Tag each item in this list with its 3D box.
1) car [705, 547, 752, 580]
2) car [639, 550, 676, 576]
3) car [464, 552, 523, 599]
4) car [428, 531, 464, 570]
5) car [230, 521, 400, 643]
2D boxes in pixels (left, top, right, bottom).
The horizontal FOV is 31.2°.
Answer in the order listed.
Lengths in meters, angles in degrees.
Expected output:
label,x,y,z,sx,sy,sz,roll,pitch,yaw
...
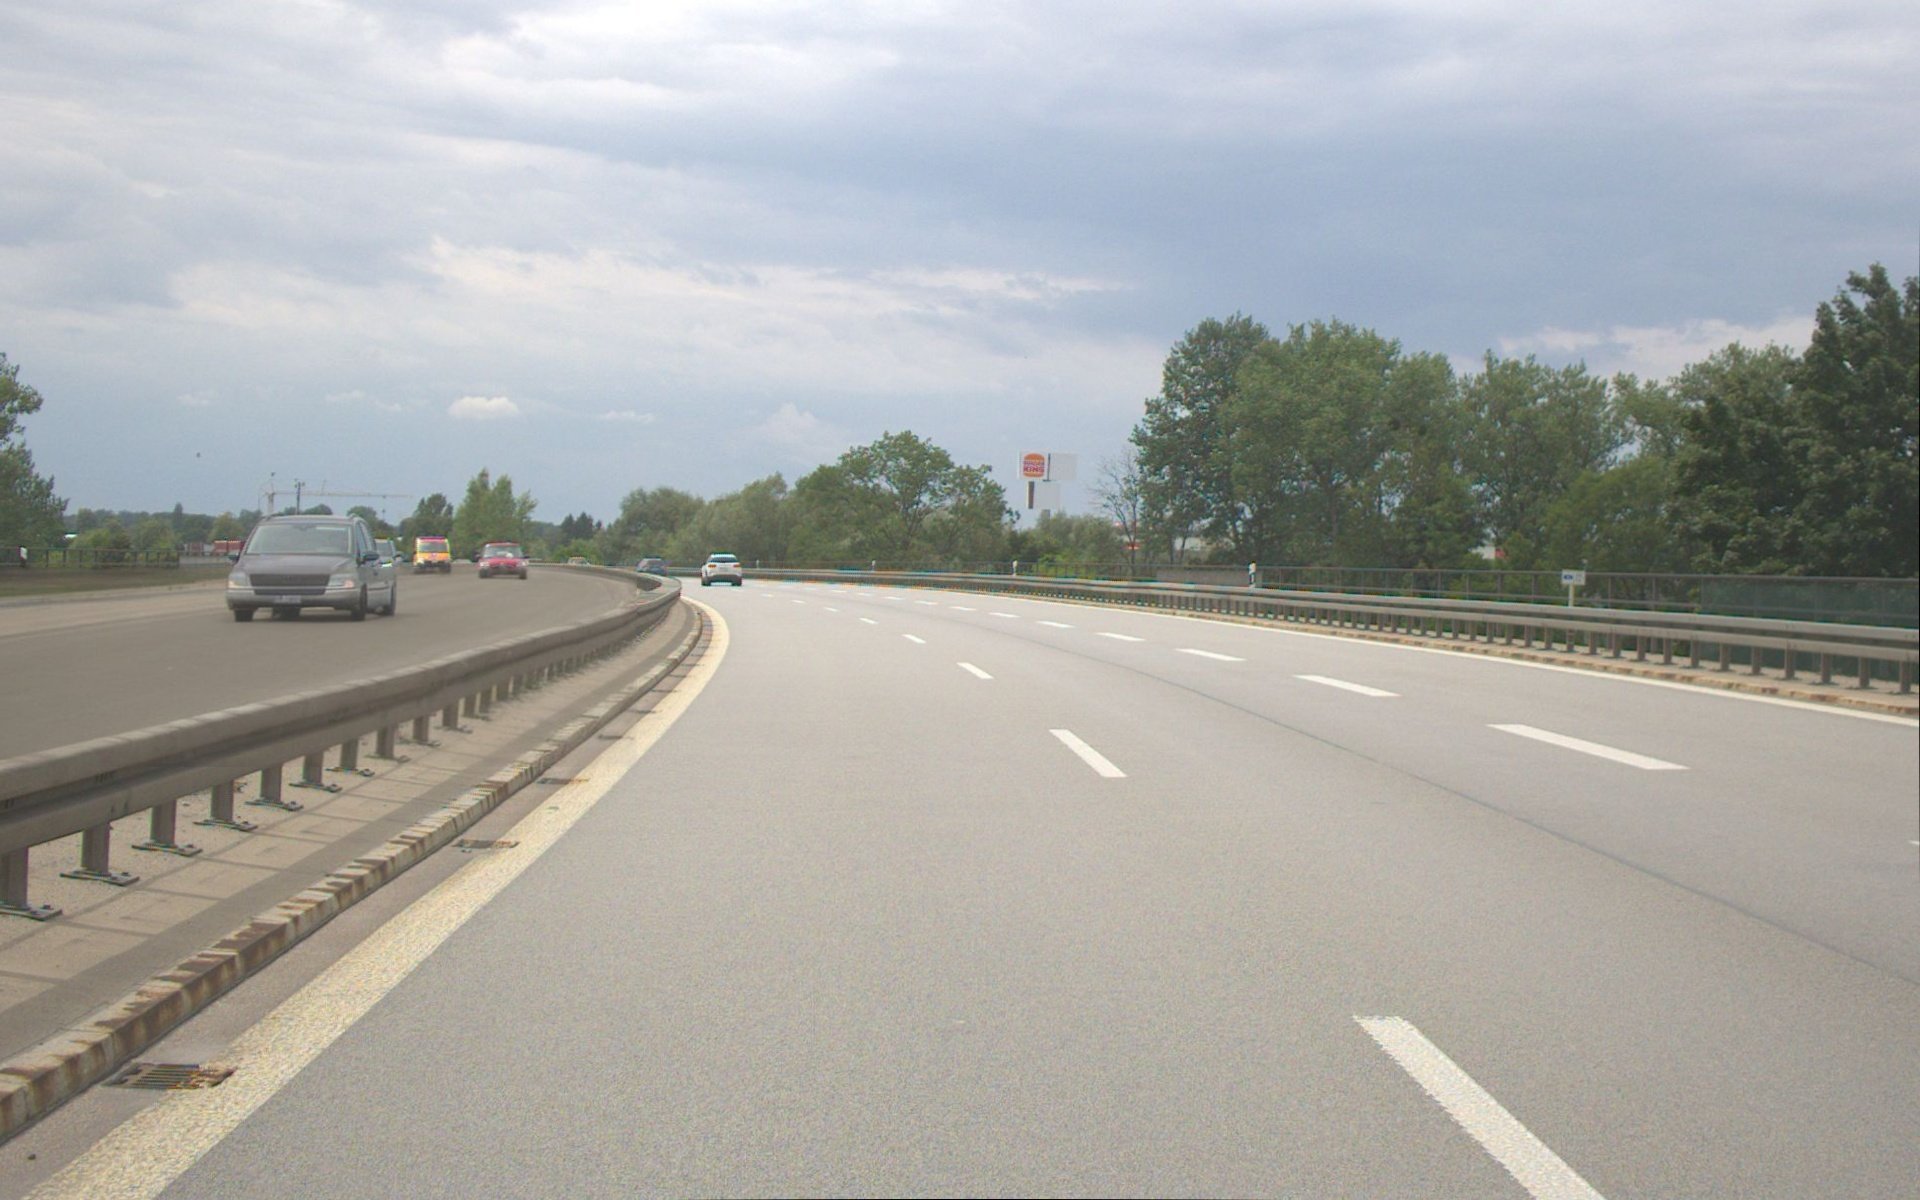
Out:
label,x,y,z,sx,sy,sz,roll,pitch,yaw
car,-12.101,-1.911,179.621,1.902,1.634,4.397,1,0,-11
car,-19.648,-2.391,223.239,1.892,1.634,4.623,0,1,-11
car,-16.901,-0.907,124.663,1.812,1.635,4.569,1,1,-4
car,-30.490,-2.943,204.035,1.993,2.285,6.399,1,1,-7
car,-8.912,-0.273,47.775,1.644,1.600,4.000,1,1,-1
